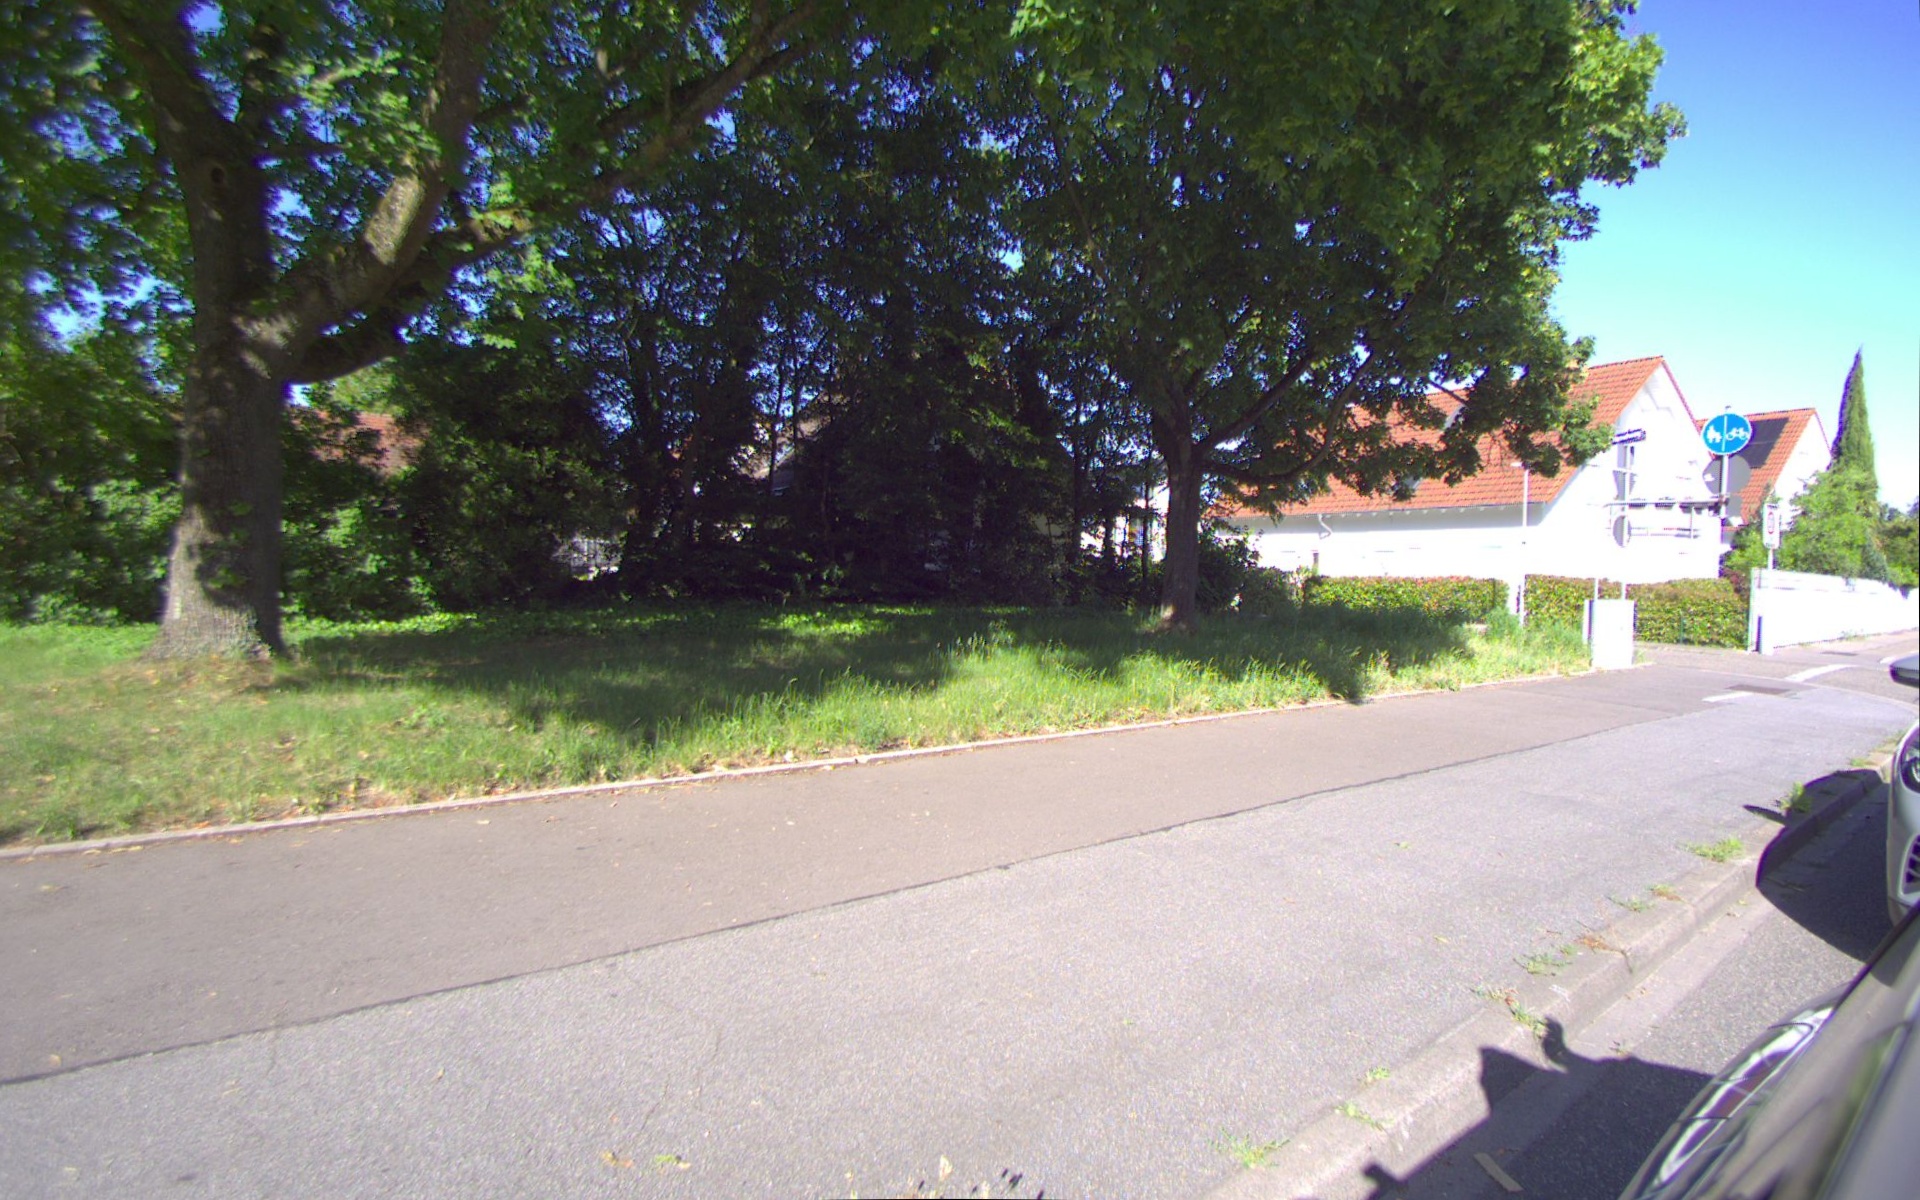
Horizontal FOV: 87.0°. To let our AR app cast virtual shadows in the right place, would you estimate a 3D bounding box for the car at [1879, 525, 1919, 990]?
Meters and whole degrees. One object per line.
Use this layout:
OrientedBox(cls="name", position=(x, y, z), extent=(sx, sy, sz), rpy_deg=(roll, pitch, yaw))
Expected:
OrientedBox(cls="car", position=(5.636, 0.600, 4.434), extent=(4.133, 1.710, 1.857), rpy_deg=(0, 3, -41))
